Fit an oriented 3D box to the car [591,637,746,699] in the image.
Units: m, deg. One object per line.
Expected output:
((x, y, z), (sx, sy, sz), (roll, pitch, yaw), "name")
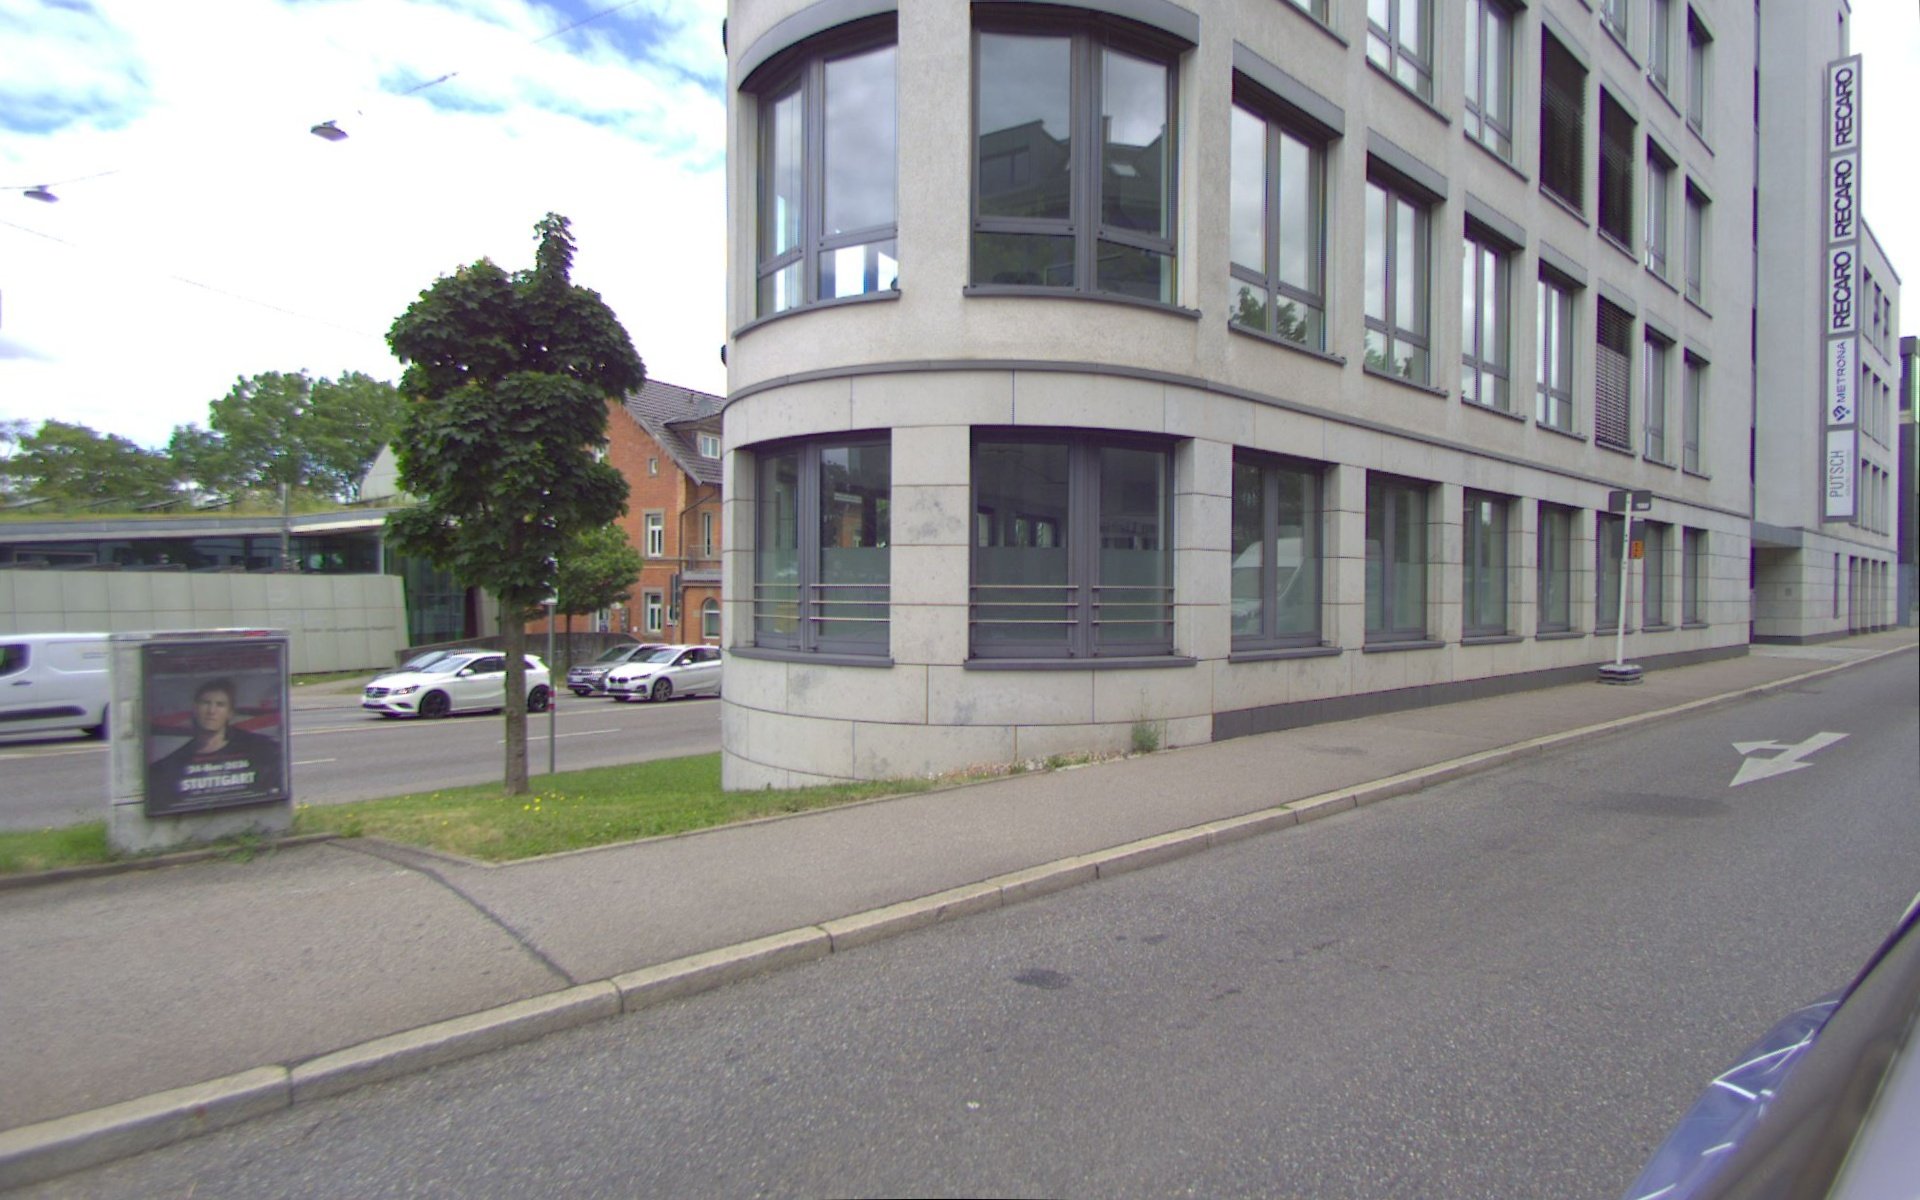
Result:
((-8.273, 1.900, 29.085), (1.722, 1.588, 4.280), (-3, -3, 30), "car")

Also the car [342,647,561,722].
((-11.493, 1.848, 23.171), (1.740, 1.394, 4.241), (-1, -1, 30), "car")

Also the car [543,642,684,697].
((-10.589, 2.079, 31.158), (1.674, 1.459, 3.935), (-1, -1, 34), "car")

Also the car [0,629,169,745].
((-15.990, 1.420, 16.752), (1.743, 1.820, 4.234), (-1, -1, 34), "car")

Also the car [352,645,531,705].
((-13.660, 1.924, 26.881), (1.674, 1.350, 3.935), (-1, -1, 34), "car")
